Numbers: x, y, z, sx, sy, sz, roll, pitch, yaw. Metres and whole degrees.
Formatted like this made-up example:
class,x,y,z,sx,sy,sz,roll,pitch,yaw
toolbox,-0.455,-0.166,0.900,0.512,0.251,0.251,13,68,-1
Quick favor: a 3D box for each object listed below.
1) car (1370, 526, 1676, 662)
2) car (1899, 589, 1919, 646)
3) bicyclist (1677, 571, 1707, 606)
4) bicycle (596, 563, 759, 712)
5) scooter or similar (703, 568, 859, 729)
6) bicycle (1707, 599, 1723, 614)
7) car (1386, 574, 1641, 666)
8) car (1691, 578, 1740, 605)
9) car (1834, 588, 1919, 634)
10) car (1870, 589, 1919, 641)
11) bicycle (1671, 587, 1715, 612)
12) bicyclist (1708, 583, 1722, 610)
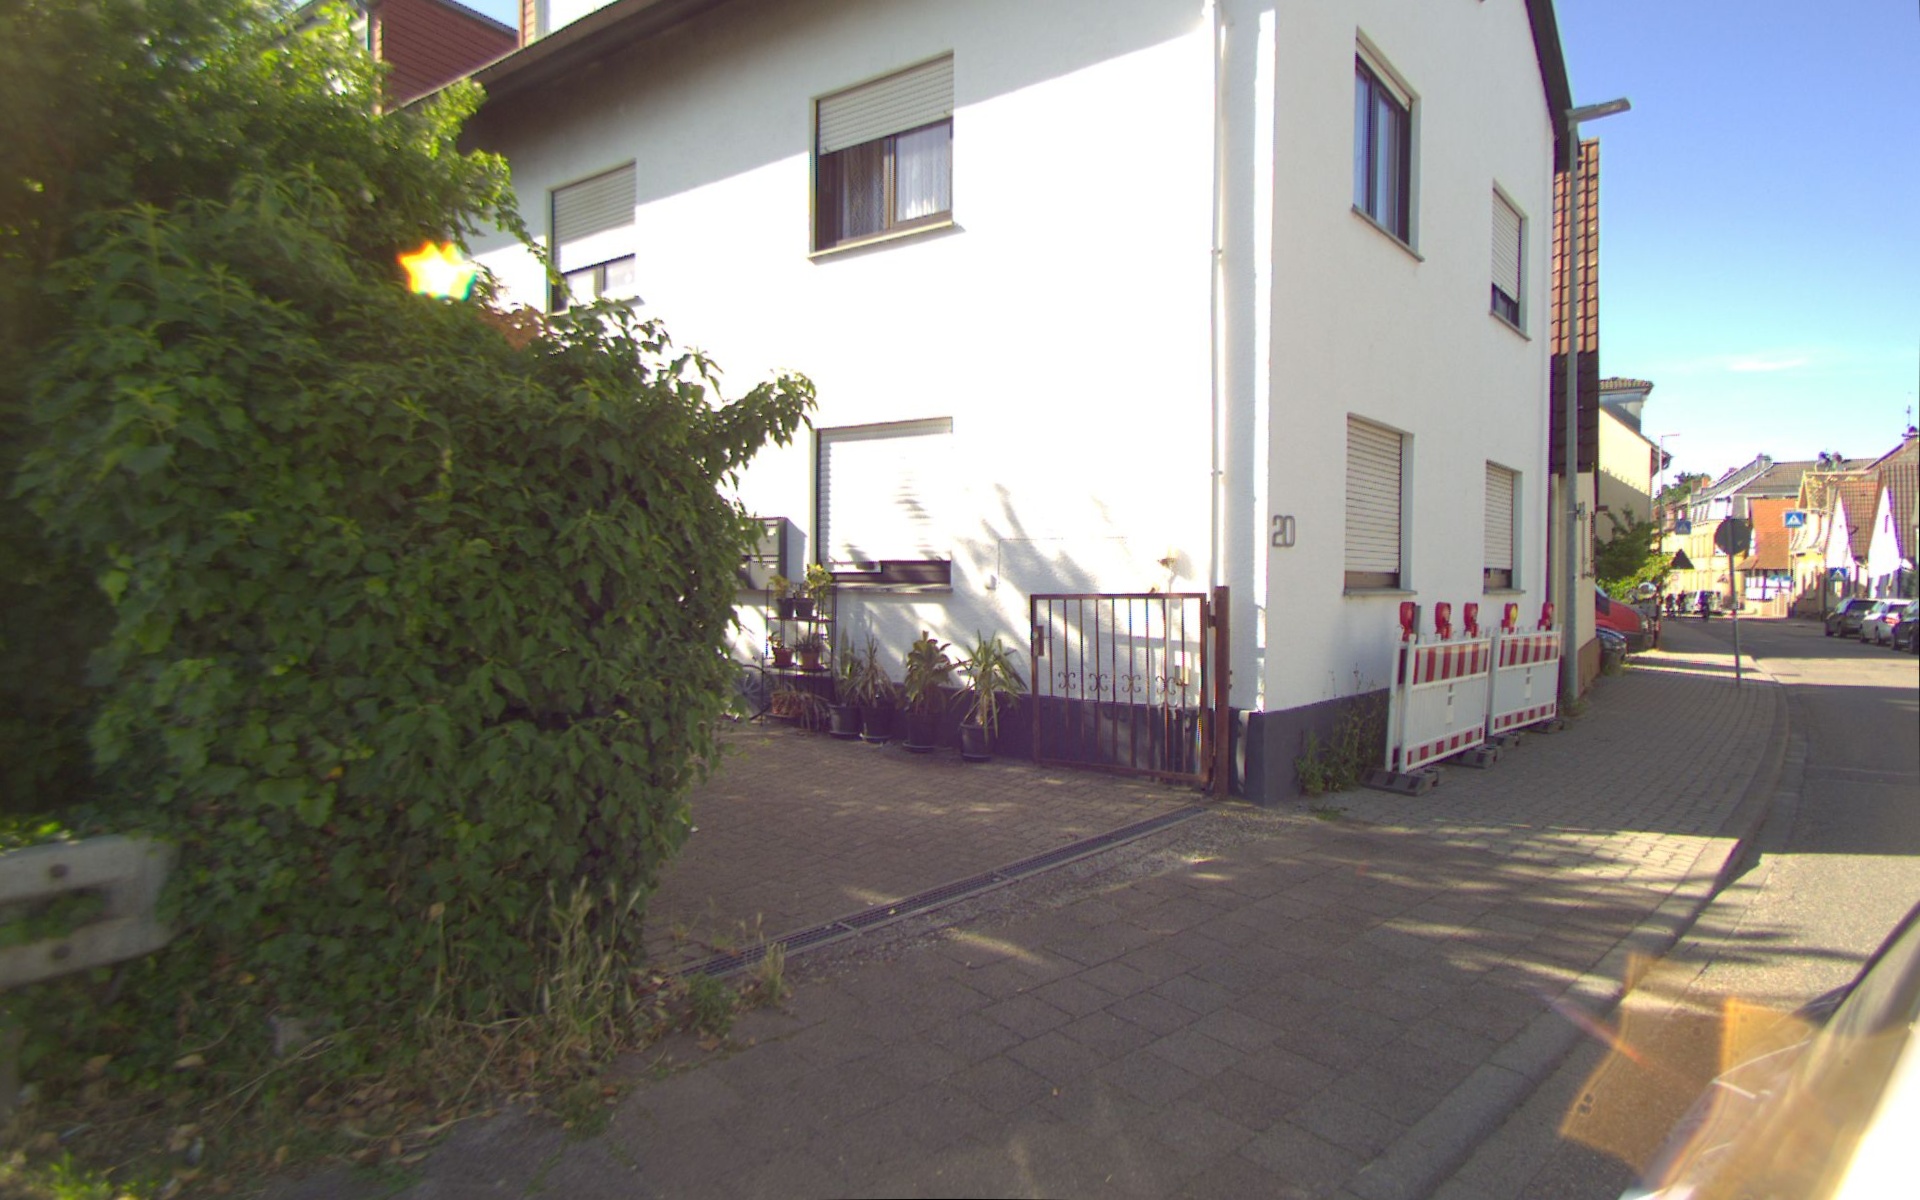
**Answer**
class,x,y,z,sx,sy,sz,roll,pitch,yaw
car,12.646,-0.263,23.093,5.779,2.687,1.946,4,3,32
car,29.092,0.519,29.567,1.778,1.624,4.307,2,2,35
bicyclist,49.744,-0.783,68.792,1.242,2.337,1.235,-2,0,19
bicycle,-2.624,0.299,9.326,1.704,1.234,0.481,3,3,35
scooter or similar,-1.539,0.367,8.579,1.393,1.234,0.451,3,3,35
bicycle,44.935,0.369,60.223,0.620,0.789,1.891,-2,1,33
car,11.193,0.318,20.615,4.359,1.505,1.818,4,3,34
car,57.417,-0.644,77.001,1.861,1.904,4.796,2,2,24
car,35.700,0.375,39.511,1.735,1.634,3.955,2,2,32
car,32.060,0.466,33.873,1.810,1.586,4.116,2,2,35
bicycle,49.746,-0.038,68.733,1.241,1.571,3.975,-2,1,19
bicyclist,44.935,-0.201,60.242,0.606,1.552,0.647,-2,0,34
